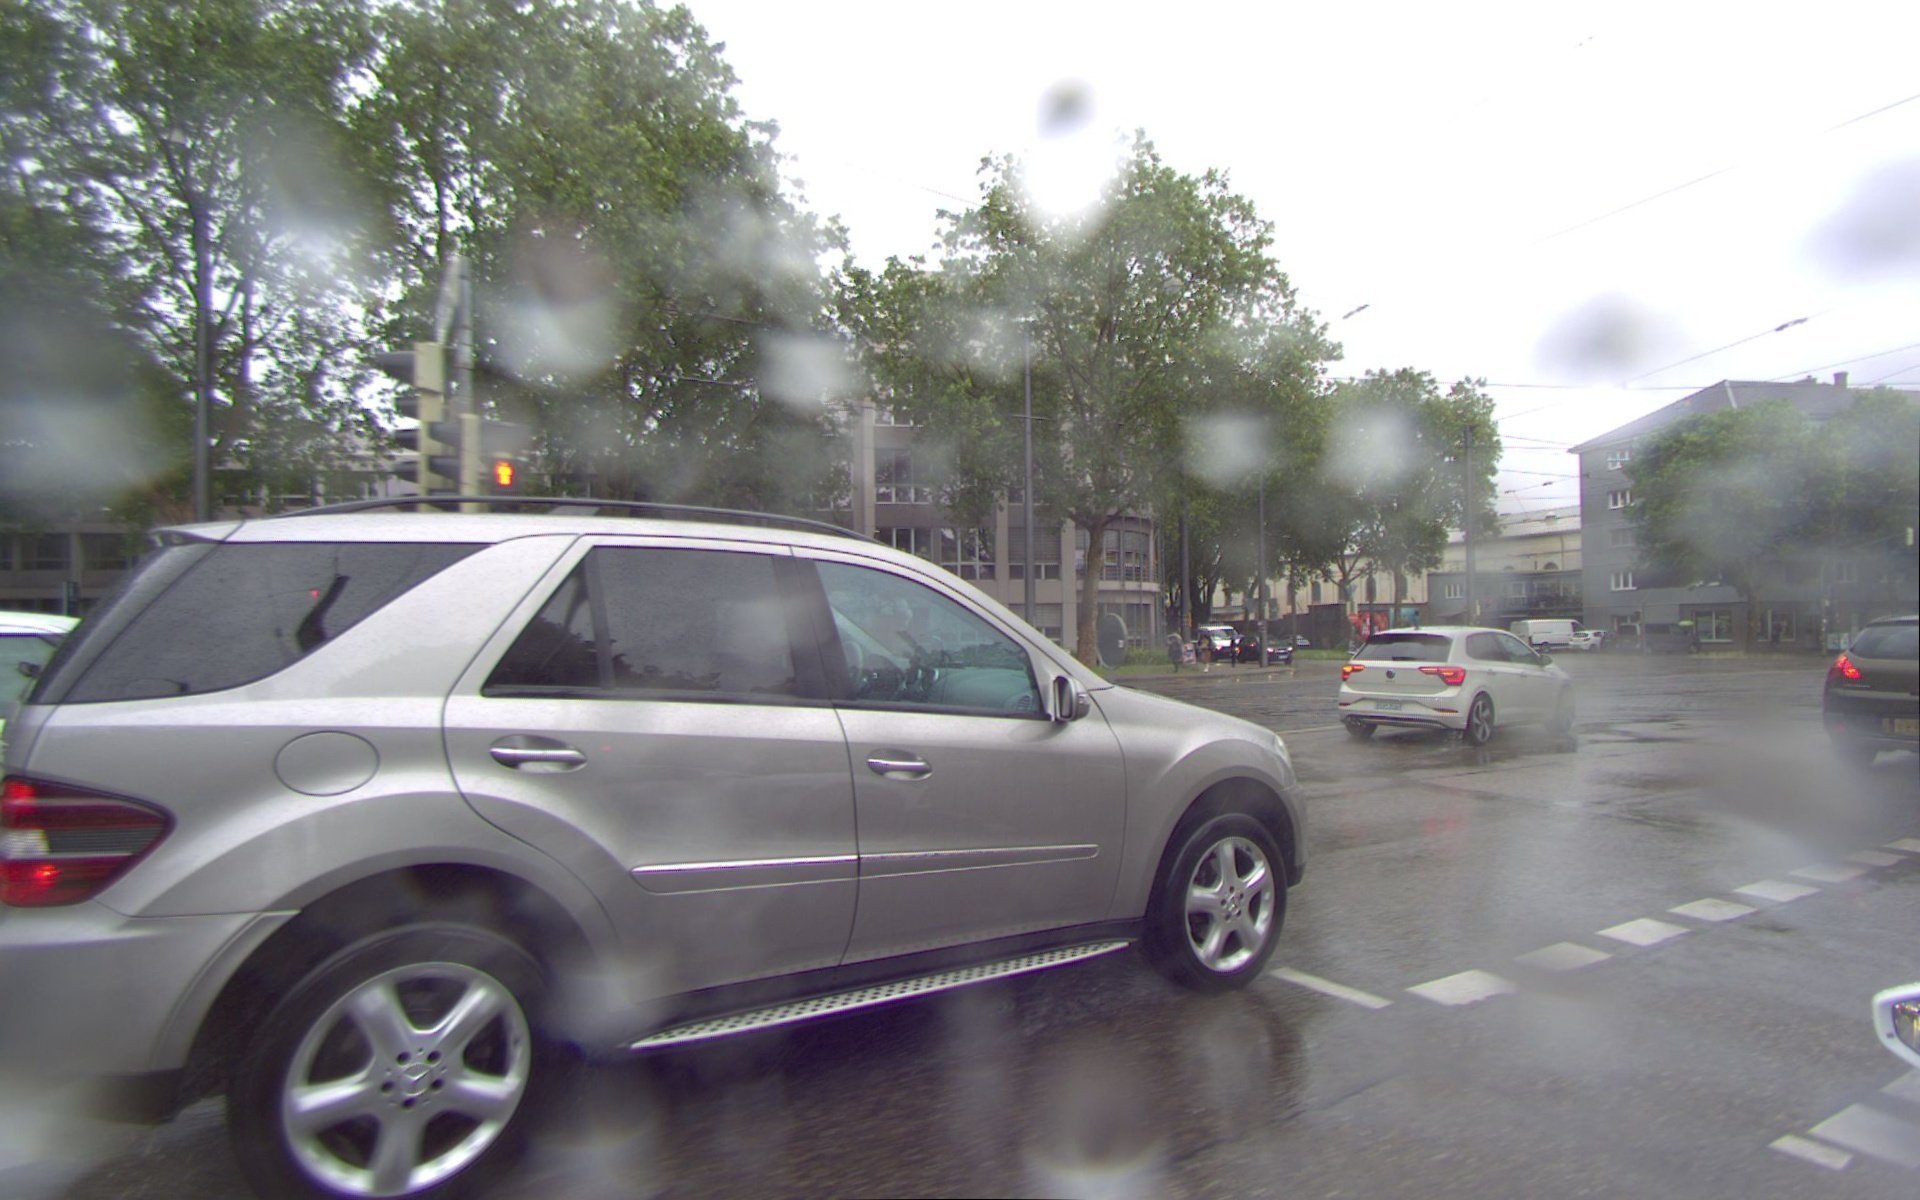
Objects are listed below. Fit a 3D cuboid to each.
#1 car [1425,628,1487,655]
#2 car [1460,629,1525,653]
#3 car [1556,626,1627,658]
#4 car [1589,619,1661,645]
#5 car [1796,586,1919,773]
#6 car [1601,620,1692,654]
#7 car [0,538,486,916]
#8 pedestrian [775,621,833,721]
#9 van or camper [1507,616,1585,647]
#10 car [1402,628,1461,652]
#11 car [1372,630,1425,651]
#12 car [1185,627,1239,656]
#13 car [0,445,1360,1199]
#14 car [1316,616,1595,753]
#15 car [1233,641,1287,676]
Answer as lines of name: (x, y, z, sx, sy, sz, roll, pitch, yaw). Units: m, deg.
car: (39.482, 3.296, 80.038, 3.924, 2.040, 1.999, 2, -1, -5)
car: (40.052, 3.081, 75.653, 3.928, 1.635, 1.997, 2, -2, -10)
car: (42.654, 2.816, 67.866, 3.937, 2.040, 1.992, 0, -1, -18)
car: (43.559, 2.112, 65.853, 3.937, 1.639, 1.920, 0, -1, -18)
car: (10.691, 0.743, 10.388, 4.140, 1.732, 1.794, 0, 0, -29)
car: (42.744, 2.258, 62.593, 4.314, 2.040, 2.066, 0, 0, -5)
car: (-4.669, 0.559, 4.963, 4.030, 1.608, 1.791, 0, -1, -33)
pedestrian: (-2.608, 1.169, 16.819, 0.721, 1.631, 0.718, -1, -1, 17)
van or camper: (41.063, 2.225, 70.448, 4.573, 2.102, 1.996, 1, -1, -12)
car: (38.889, 3.274, 82.844, 3.921, 1.954, 2.000, 0, 0, -1)
car: (38.907, 3.596, 89.152, 3.924, 1.678, 1.785, 2, -1, -5)
car: (16.114, 2.627, 64.488, 1.968, 1.795, 3.995, 0, -1, -8)
car: (-0.706, 0.551, 3.860, 4.630, 1.668, 1.897, 0, -1, -34)
car: (6.721, 1.010, 13.454, 4.155, 1.557, 1.792, 1, -2, -39)
car: (17.256, 3.340, 57.885, 1.768, 1.795, 4.000, -2, -1, -2)
